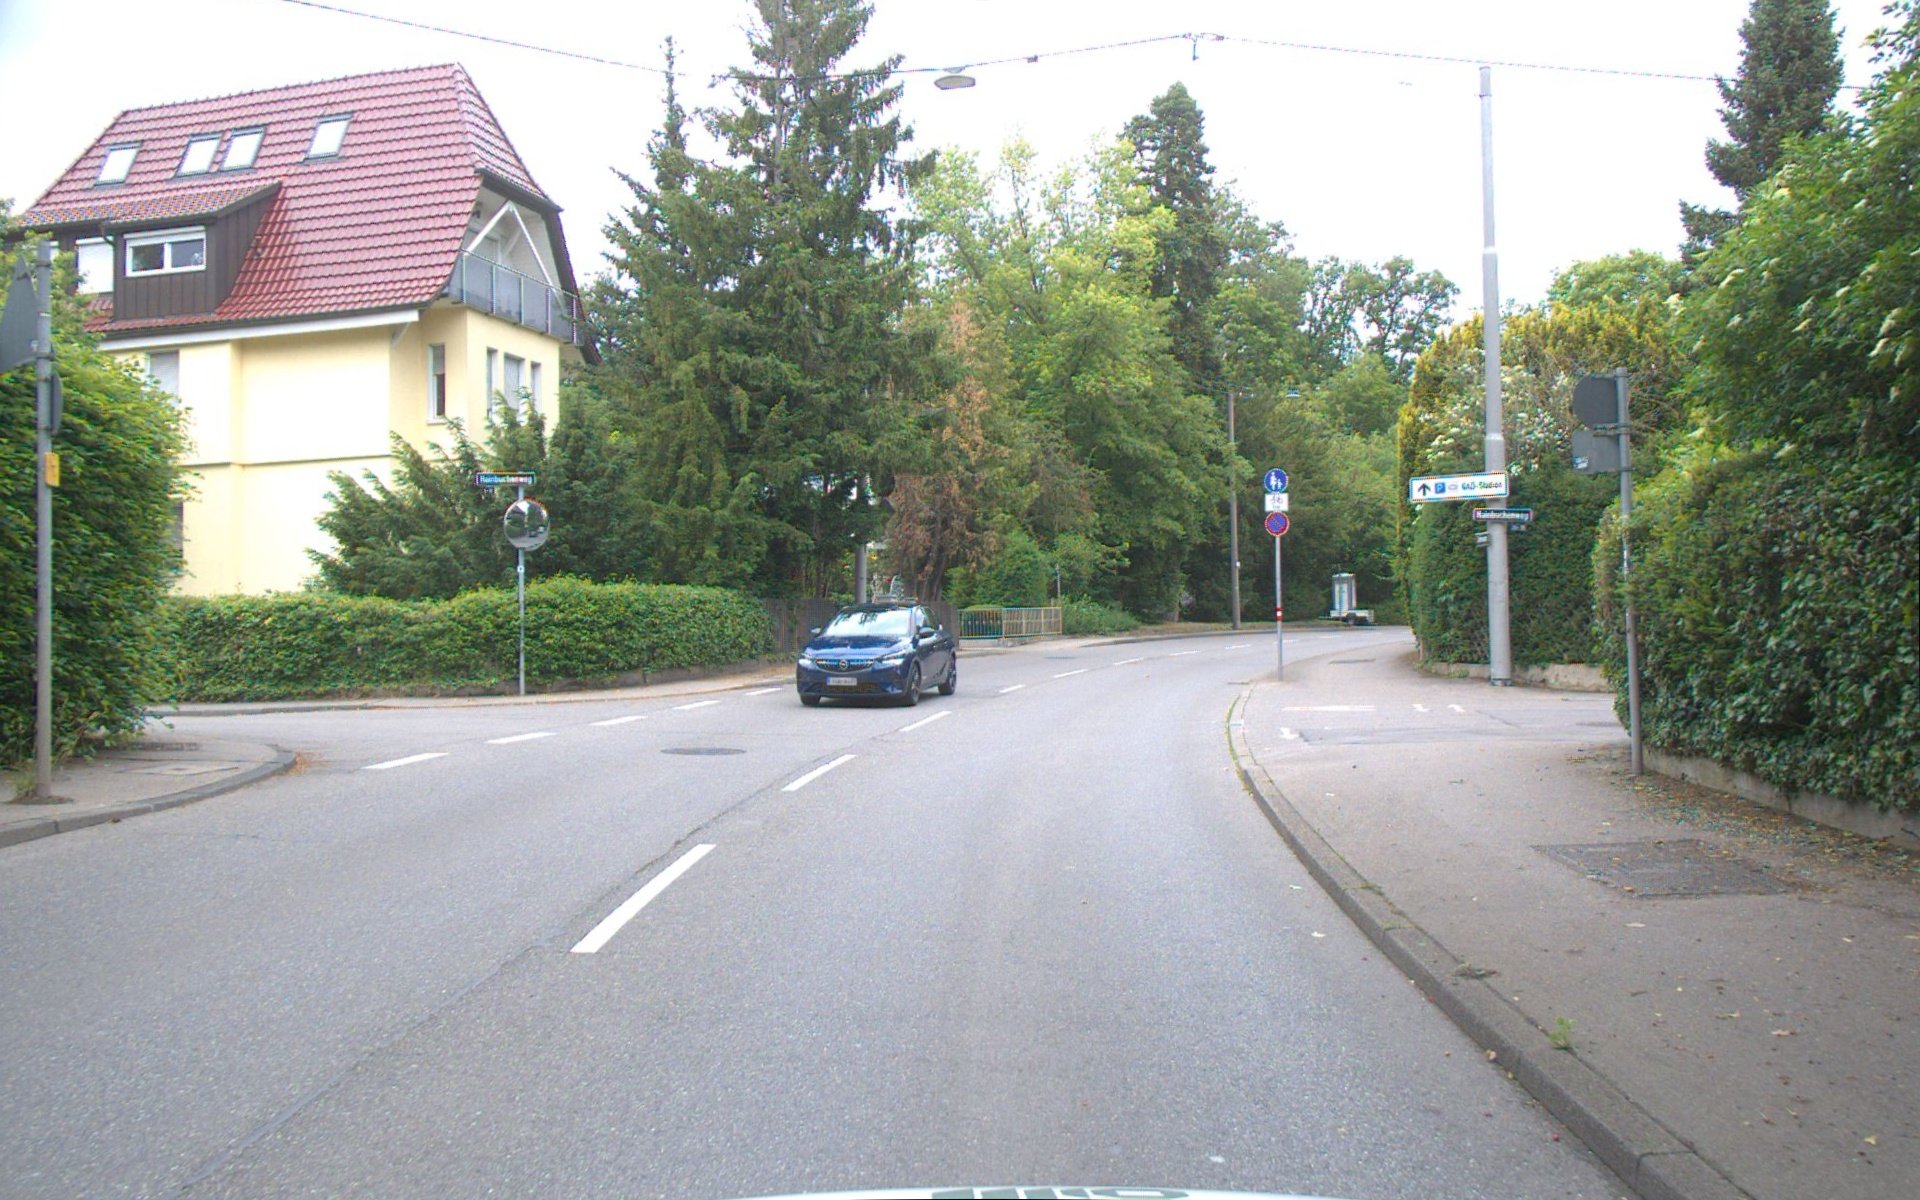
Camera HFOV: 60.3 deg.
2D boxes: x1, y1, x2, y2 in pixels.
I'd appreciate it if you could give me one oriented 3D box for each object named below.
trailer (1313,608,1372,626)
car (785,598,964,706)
[{"bbox_3d":[20.585,0.919,88.891,2.894,0.843,1.476,-2,-1,21],"label":"trailer"},{"bbox_3d":[-1.176,0.718,24.672,1.719,1.464,4.097,-1,0,11],"label":"car"}]
